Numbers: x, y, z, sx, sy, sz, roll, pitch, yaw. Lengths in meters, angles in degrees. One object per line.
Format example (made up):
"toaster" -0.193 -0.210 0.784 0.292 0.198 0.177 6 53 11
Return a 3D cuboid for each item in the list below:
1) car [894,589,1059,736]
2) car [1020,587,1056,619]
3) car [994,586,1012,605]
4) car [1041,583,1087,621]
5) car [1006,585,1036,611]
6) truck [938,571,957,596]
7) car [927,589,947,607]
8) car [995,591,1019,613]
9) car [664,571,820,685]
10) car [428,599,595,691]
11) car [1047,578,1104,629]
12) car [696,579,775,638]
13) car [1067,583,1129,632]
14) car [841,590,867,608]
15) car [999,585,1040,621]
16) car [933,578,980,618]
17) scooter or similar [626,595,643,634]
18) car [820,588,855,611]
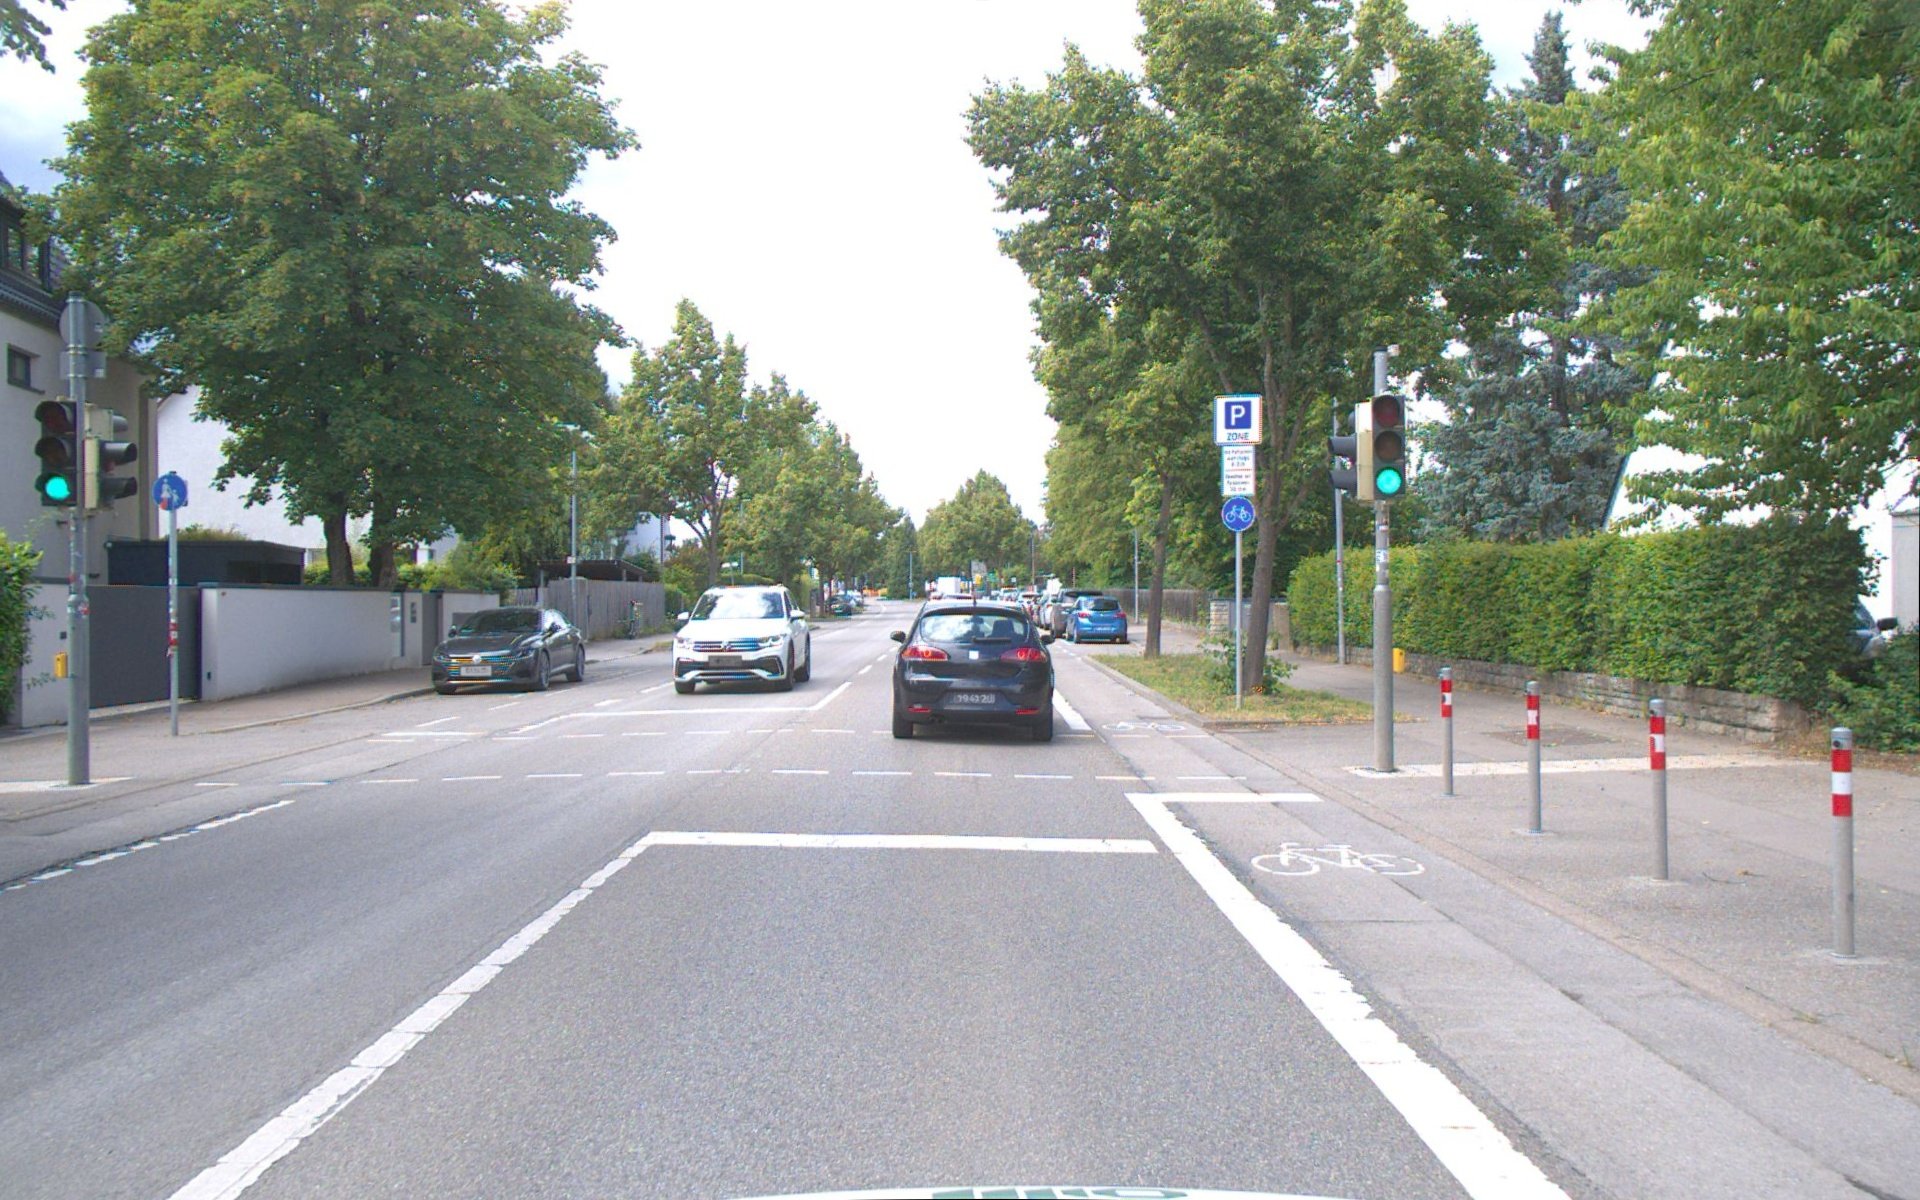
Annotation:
"car" 0.102 0.626 18.459 1.629 1.426 3.810 1 0 -2
"car" 4.038 0.148 85.945 1.654 1.591 4.213 0 0 -1
"car" 4.353 -0.436 169.328 1.654 1.908 4.213 0 0 -1
"car" 4.444 0.073 70.887 1.654 1.591 4.213 0 0 -1
"car" 3.745 -0.116 101.647 1.654 1.591 4.213 0 0 -1
"truck" -1.708 -2.215 220.562 2.233 3.158 8.508 2 0 -1
"car" -2.247 -0.189 161.457 1.843 1.718 4.213 0 0 -1
"car" 3.573 0.141 126.015 1.654 1.591 4.213 0 0 -1
"car" -3.466 0.405 27.095 1.836 1.663 4.341 -2 0 1
"car" -7.844 0.739 29.394 1.683 1.419 4.800 -2 0 -1
"car" 4.047 0.118 58.386 1.654 1.741 4.213 0 0 -1
"car" -7.907 0.270 58.793 2.057 1.929 5.783 -2 0 -1
"car" 4.404 0.218 53.087 1.654 1.516 3.354 0 0 -1
"car" -9.489 -0.128 148.501 2.057 1.532 5.783 -2 0 -1
"car" 2.679 0.116 75.180 1.654 1.591 4.213 0 0 -1
"car" -0.144 -0.060 67.294 1.808 1.536 3.811 1 0 0
"scooter or similar" -10.840 0.473 55.075 0.380 1.251 1.497 0 0 -5
"car" -8.524 -0.036 115.773 2.057 1.532 5.783 -2 0 -1
